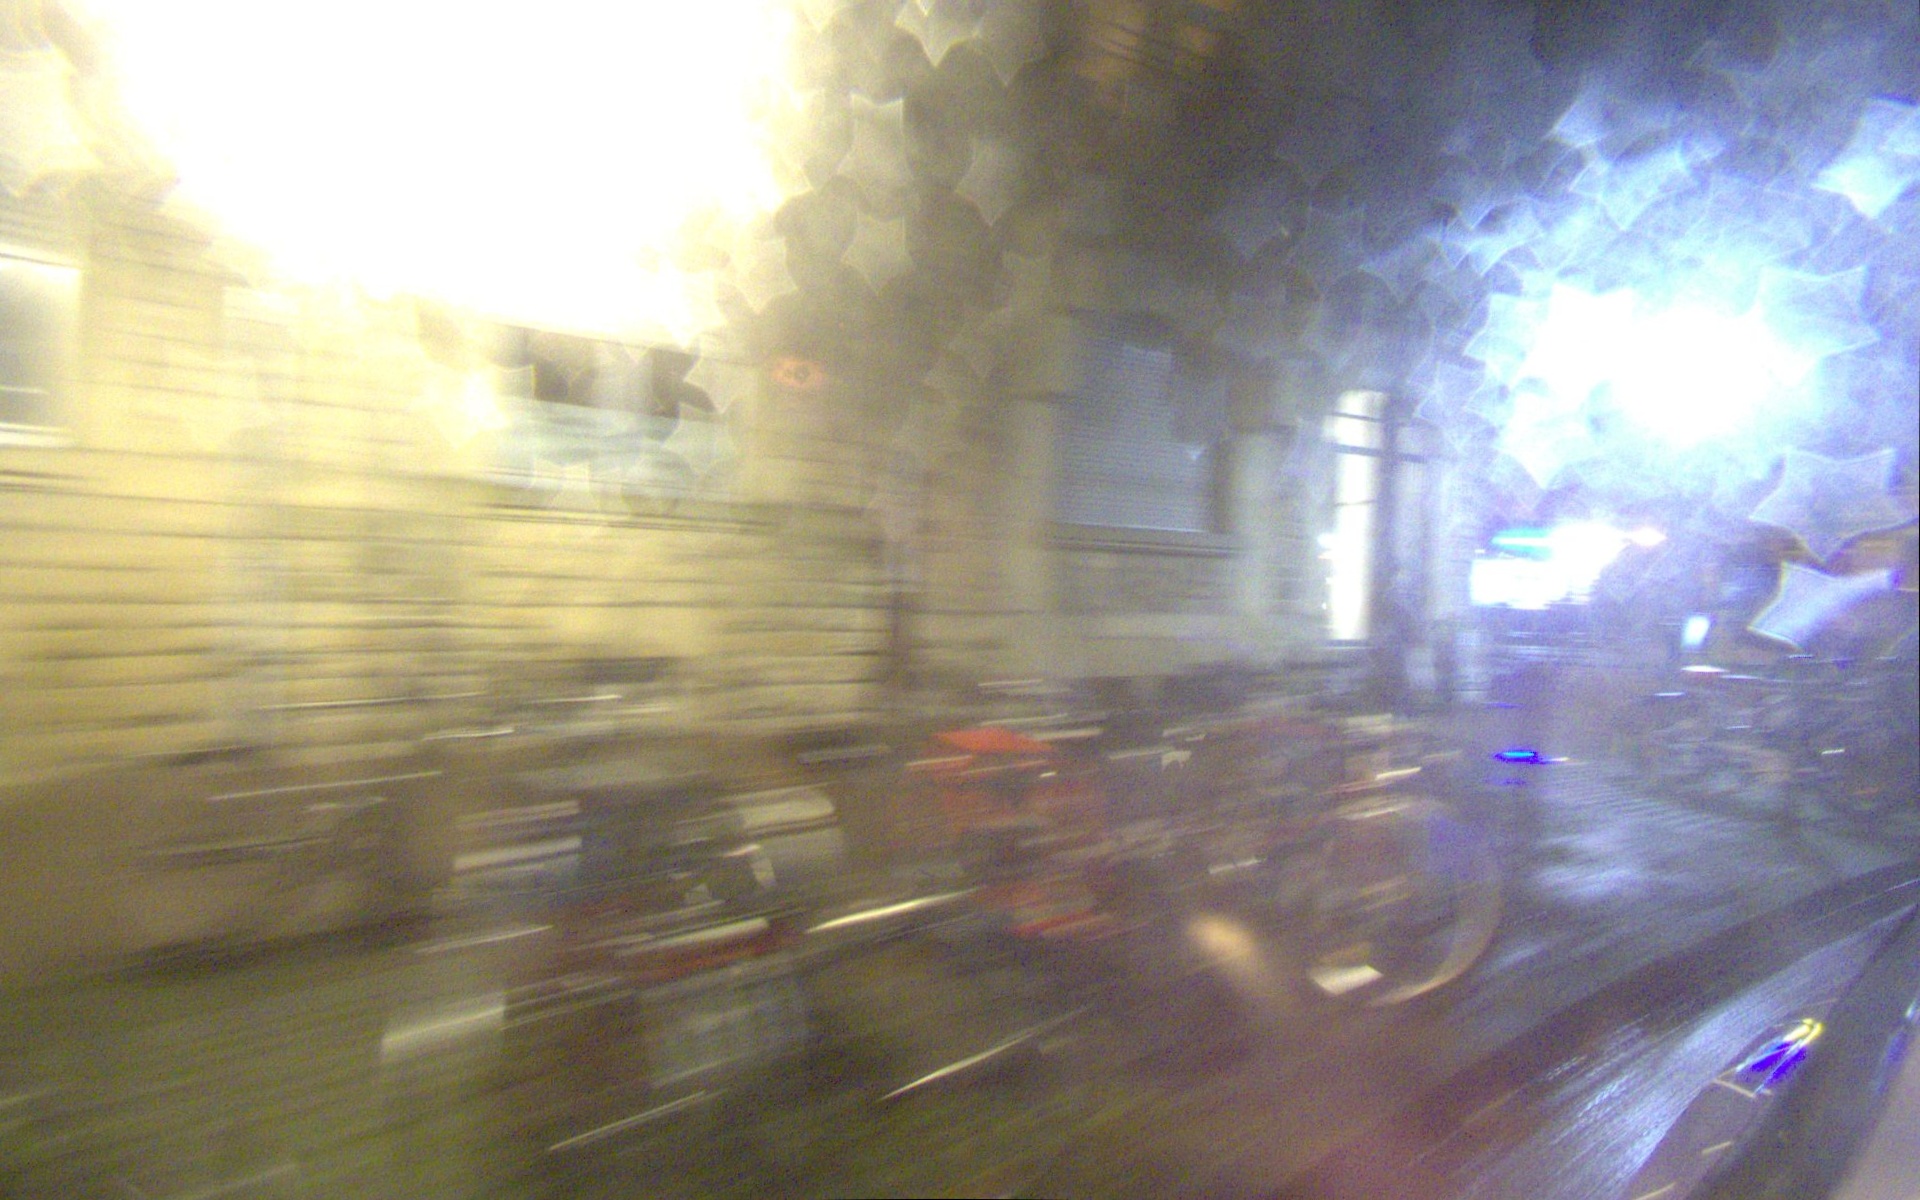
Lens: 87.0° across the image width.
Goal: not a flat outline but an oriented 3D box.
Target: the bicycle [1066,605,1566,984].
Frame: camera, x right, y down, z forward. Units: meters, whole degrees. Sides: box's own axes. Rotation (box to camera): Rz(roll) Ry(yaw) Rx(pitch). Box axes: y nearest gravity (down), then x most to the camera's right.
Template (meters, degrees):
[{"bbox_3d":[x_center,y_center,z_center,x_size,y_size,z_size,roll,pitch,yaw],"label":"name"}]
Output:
[{"bbox_3d":[1.358,0.642,4.301,0.716,1.128,1.934,1,3,-33],"label":"bicycle"}]

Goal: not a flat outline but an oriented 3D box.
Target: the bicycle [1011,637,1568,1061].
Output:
[{"bbox_3d":[1.062,0.724,3.792,0.716,0.999,1.934,1,3,-33],"label":"bicycle"}]

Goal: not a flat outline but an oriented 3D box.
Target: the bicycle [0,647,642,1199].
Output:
[{"bbox_3d":[-1.230,0.699,1.988,0.630,1.019,1.977,1,3,-33],"label":"bicycle"}]

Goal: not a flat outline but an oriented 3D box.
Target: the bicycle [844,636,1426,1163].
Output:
[{"bbox_3d":[0.380,0.716,3.295,0.675,1.019,1.977,1,3,-33],"label":"bicycle"}]

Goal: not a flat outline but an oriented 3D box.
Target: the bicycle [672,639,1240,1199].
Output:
[{"bbox_3d":[-0.199,0.713,2.897,0.630,1.019,1.977,1,3,-33],"label":"bicycle"}]

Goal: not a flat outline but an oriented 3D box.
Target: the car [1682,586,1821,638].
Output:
[{"bbox_3d":[28.193,0.375,36.231,1.848,1.725,4.281,0,1,5],"label":"car"}]

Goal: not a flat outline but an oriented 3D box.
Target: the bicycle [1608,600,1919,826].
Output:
[{"bbox_3d":[5.539,0.671,6.750,0.716,1.232,1.876,1,3,-33],"label":"bicycle"}]

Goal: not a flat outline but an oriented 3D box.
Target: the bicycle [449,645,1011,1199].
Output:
[{"bbox_3d":[-0.728,0.712,2.386,0.630,1.019,1.977,1,3,-33],"label":"bicycle"}]

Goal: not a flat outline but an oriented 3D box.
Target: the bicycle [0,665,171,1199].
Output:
[{"bbox_3d":[-1.593,0.714,1.388,0.630,1.019,1.977,1,3,-33],"label":"bicycle"}]

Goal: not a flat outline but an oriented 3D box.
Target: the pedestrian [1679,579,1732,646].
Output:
[{"bbox_3d":[20.408,0.331,27.716,1.021,1.786,0.691,2,-1,-19],"label":"pedestrian"}]
